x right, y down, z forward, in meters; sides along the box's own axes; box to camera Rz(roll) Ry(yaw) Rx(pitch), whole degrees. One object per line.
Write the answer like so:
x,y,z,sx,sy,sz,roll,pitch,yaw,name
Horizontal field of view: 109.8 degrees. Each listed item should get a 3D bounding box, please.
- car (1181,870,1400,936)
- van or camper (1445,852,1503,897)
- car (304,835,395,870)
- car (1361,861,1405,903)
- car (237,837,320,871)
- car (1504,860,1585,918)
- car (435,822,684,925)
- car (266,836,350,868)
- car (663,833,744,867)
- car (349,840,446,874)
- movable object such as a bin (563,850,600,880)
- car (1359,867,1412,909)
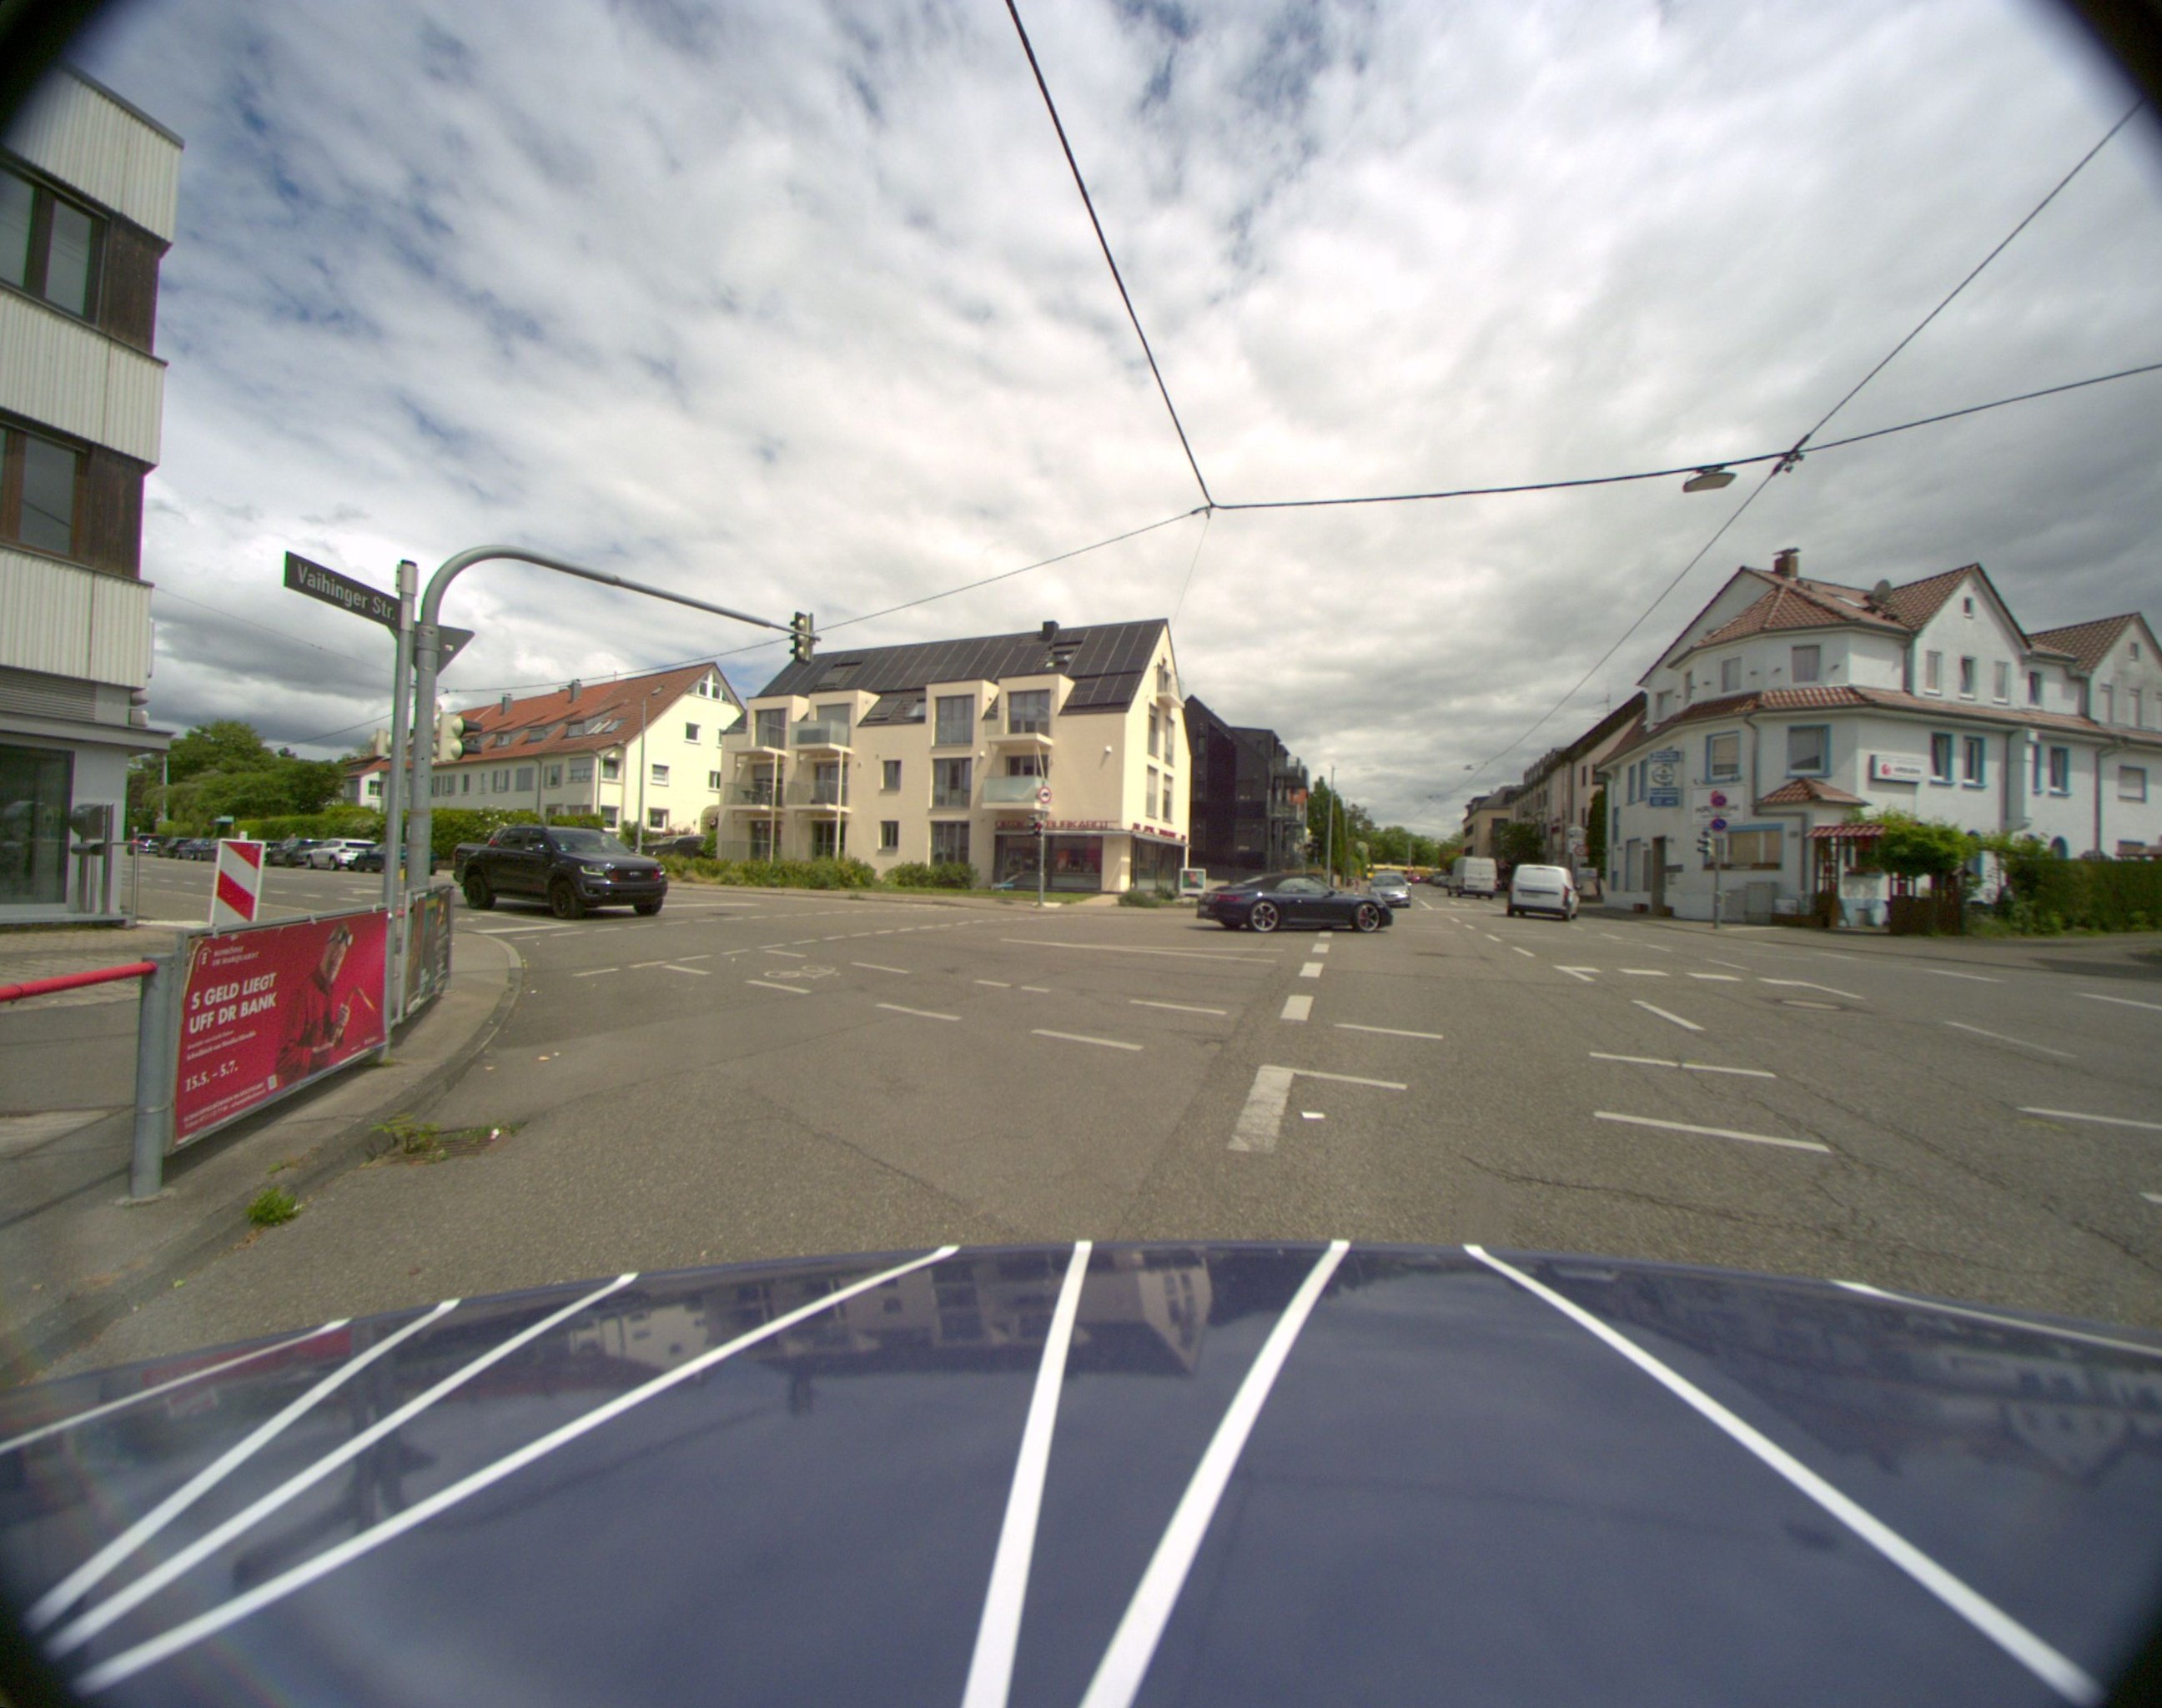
4.633,1.078,17.148,4.304,1.275,1.998,2,0,-10,car
25.120,1.304,48.801,2.109,2.571,5.653,4,0,16,van or camper
-37.209,-0.060,38.636,4.441,1.623,2.004,2,0,27,car
15.676,1.385,39.516,1.995,2.002,4.007,2,0,21,car
-46.653,-0.020,44.164,4.224,1.621,2.006,2,-7,27,car
16.020,1.215,26.160,1.816,1.800,4.430,1,-2,38,car
-10.901,0.323,15.812,5.206,1.838,1.892,2,0,26,car
-41.841,-0.108,41.142,4.224,1.623,2.004,2,0,27,car
-23.262,-0.211,46.967,1.994,2.002,4.008,2,0,28,car
-32.807,0.137,36.462,4.441,1.492,1.823,2,0,25,car
-23.179,0.492,35.273,0.978,1.354,1.095,2,0,28,movable object such as a bin
13.443,1.439,33.614,1.995,1.674,4.007,2,0,21,car
